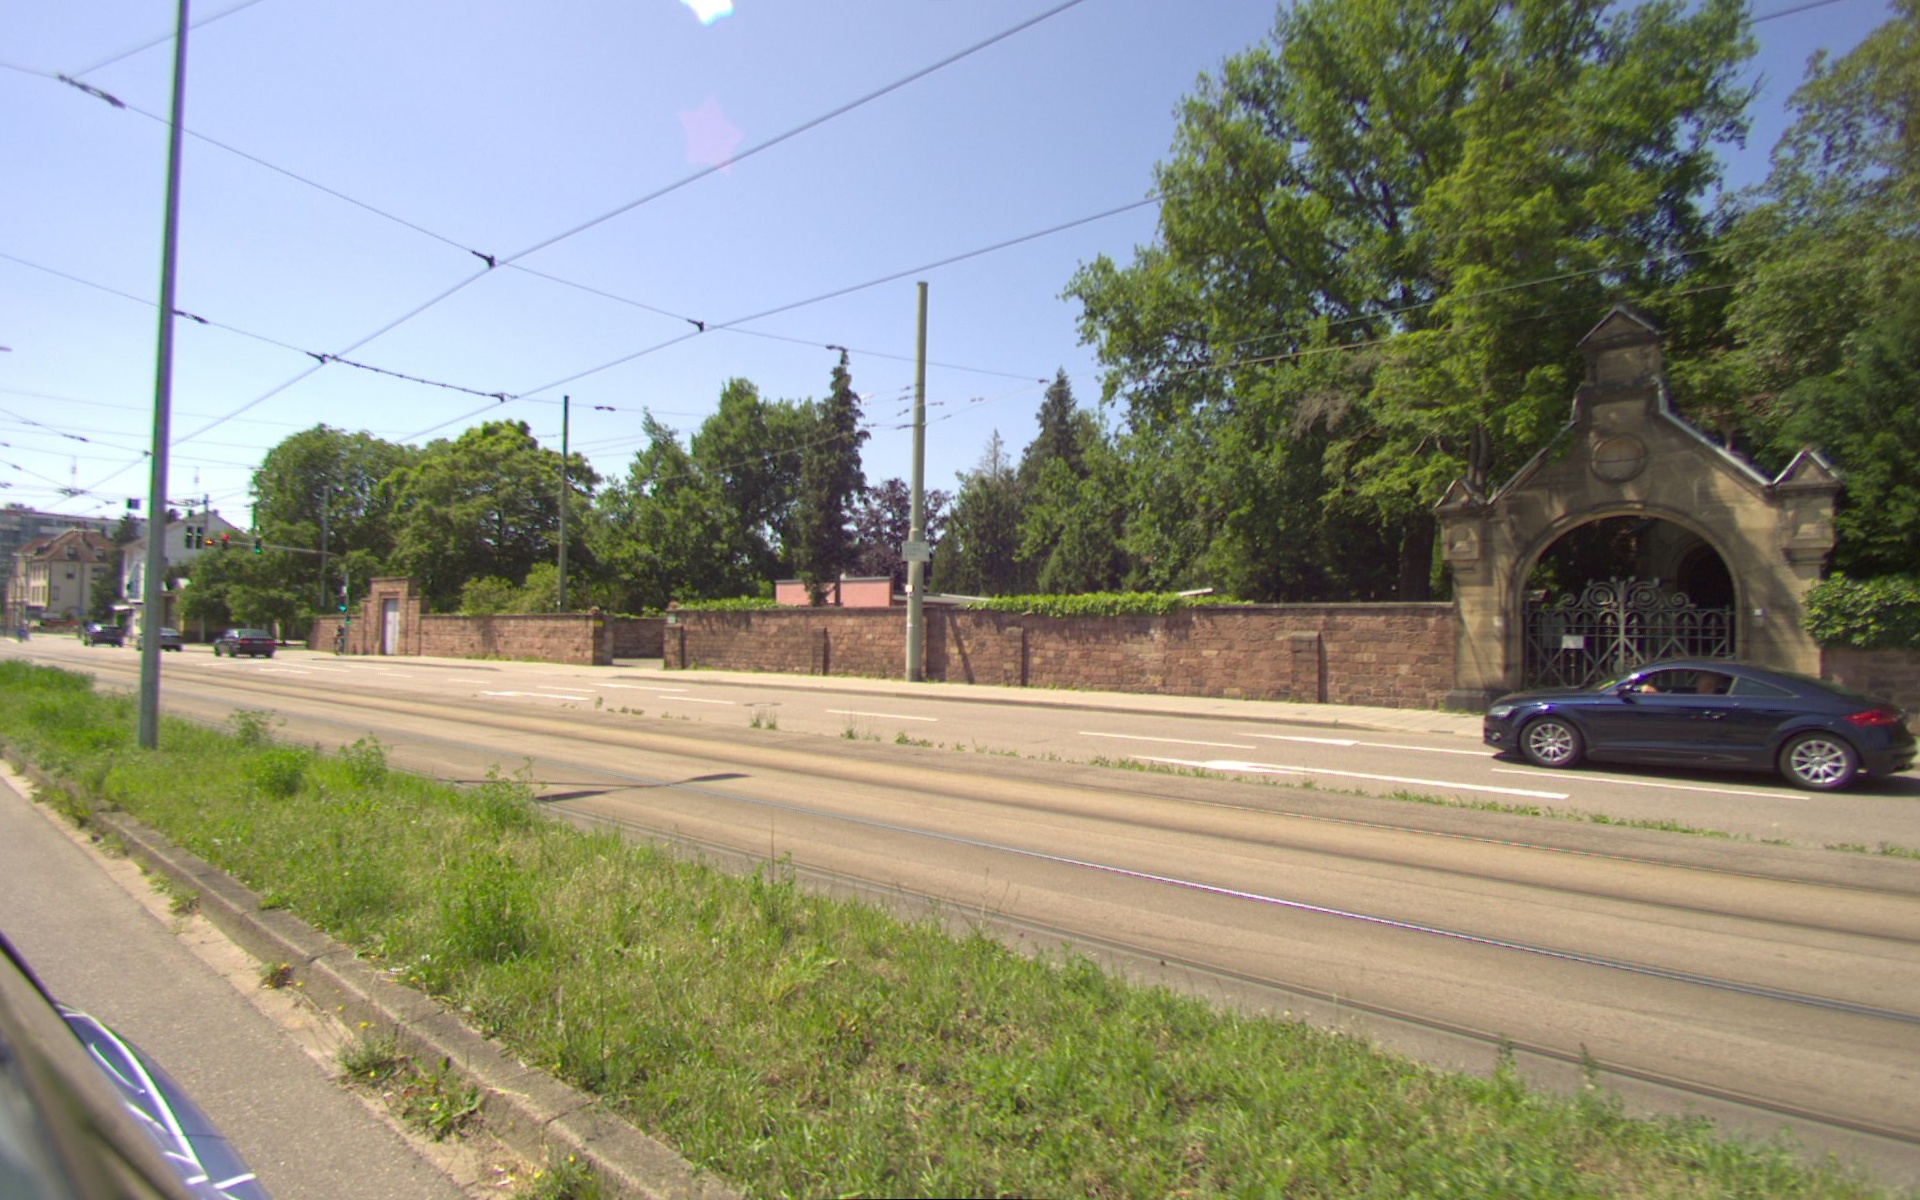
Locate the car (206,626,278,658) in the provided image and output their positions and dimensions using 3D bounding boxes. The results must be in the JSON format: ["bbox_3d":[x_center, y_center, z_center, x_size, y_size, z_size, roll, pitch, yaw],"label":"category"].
[{"bbox_3d":[-36.122,2.072,50.868,5.031,1.427,1.821,-1,0,42],"label":"car"}]

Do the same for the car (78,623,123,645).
[{"bbox_3d":[-63.771,2.536,75.090,4.463,1.567,1.821,-1,-3,41],"label":"car"}]

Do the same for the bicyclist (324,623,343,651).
[{"bbox_3d":[-33.333,1.969,53.832,0.662,1.508,0.646,-1,-2,39],"label":"bicyclist"}]

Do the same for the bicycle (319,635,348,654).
[{"bbox_3d":[-33.309,2.338,53.806,2.113,0.964,0.645,-1,-2,40],"label":"bicycle"}]

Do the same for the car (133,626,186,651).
[{"bbox_3d":[-50.004,2.372,63.186,4.709,1.427,1.821,-1,0,42],"label":"car"}]

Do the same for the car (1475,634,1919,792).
[{"bbox_3d":[8.482,1.164,11.784,4.123,1.459,1.736,-1,-1,43],"label":"car"}]
